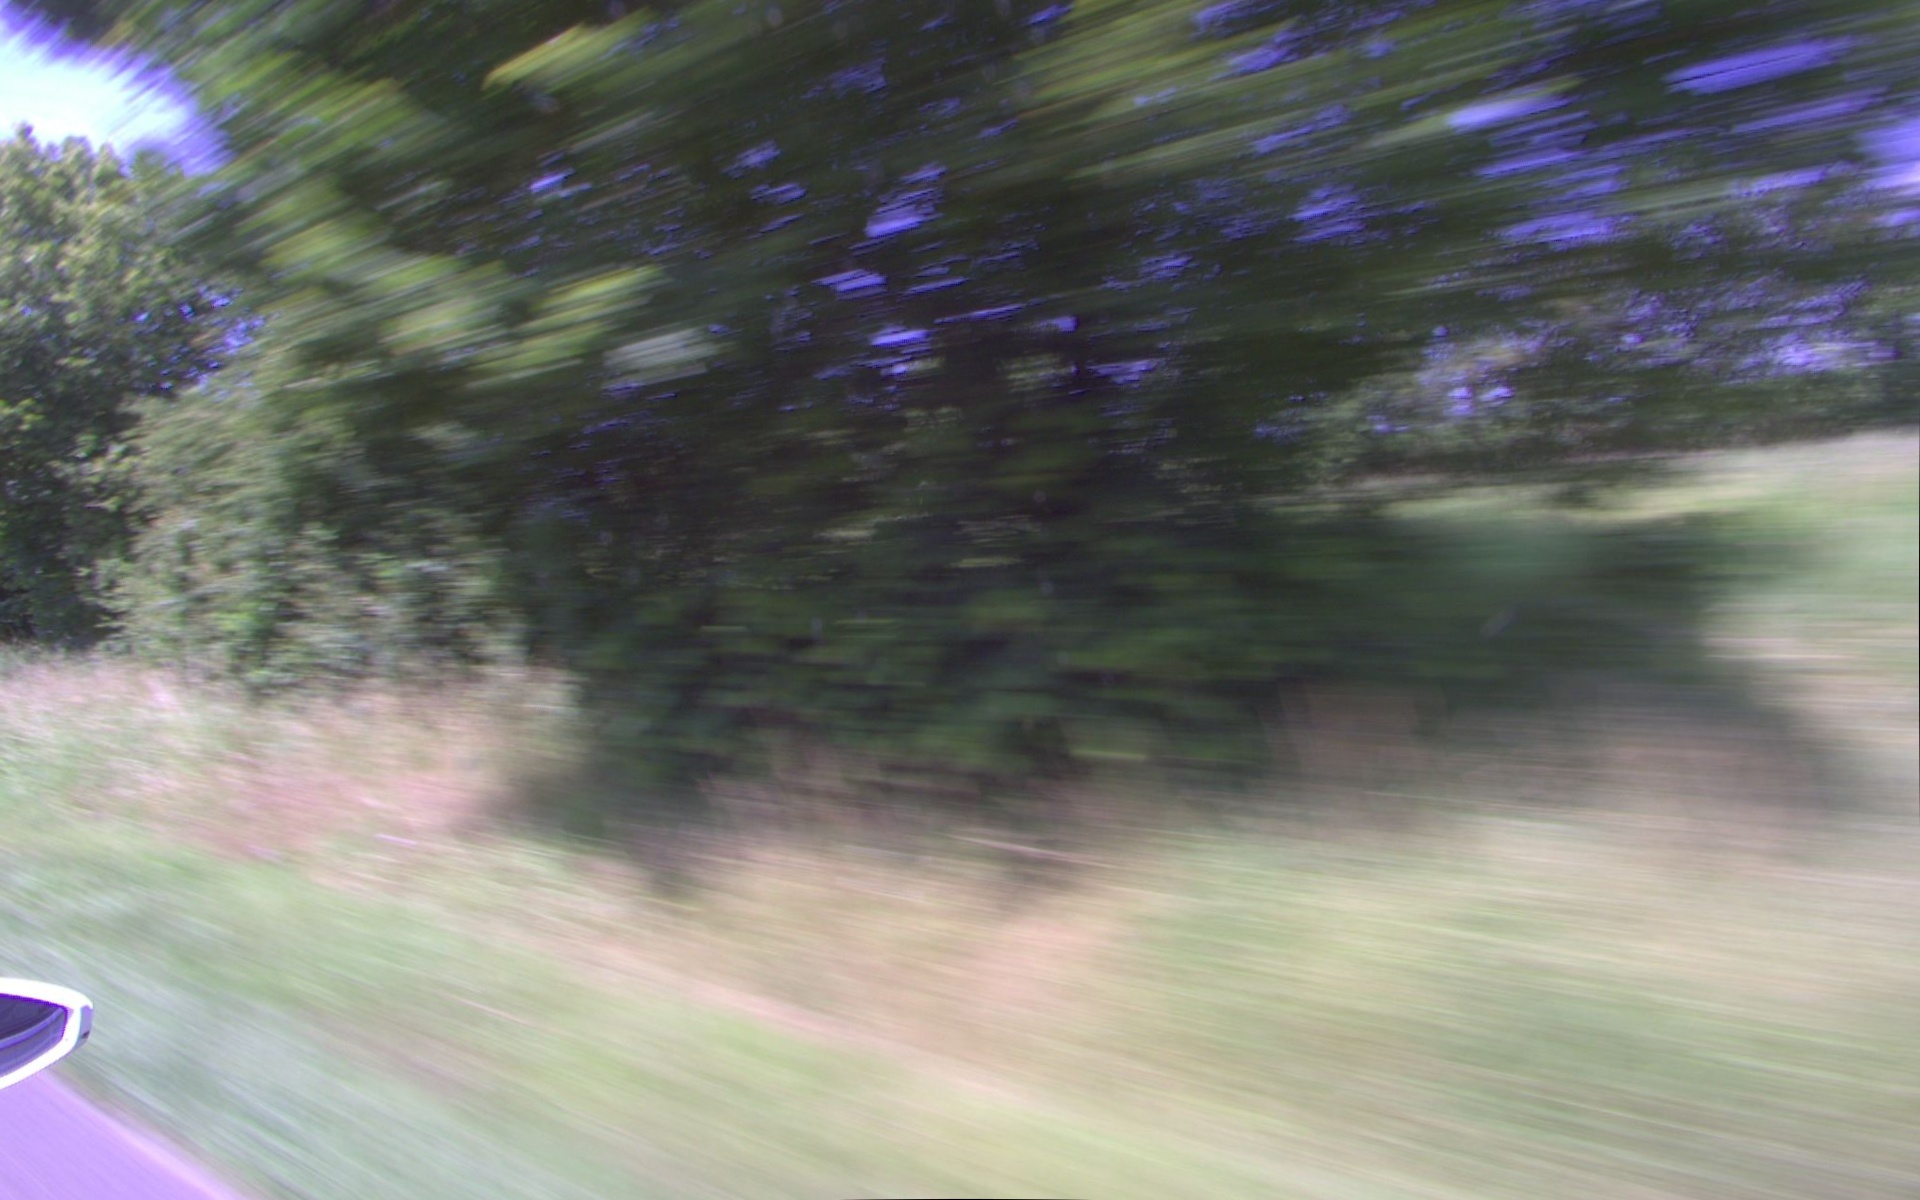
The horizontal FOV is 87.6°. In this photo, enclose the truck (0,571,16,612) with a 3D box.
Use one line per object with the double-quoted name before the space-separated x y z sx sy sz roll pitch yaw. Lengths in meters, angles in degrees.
"truck" -111.528 -1.020 113.635 3.072 4.767 16.493 -1 0 -32
